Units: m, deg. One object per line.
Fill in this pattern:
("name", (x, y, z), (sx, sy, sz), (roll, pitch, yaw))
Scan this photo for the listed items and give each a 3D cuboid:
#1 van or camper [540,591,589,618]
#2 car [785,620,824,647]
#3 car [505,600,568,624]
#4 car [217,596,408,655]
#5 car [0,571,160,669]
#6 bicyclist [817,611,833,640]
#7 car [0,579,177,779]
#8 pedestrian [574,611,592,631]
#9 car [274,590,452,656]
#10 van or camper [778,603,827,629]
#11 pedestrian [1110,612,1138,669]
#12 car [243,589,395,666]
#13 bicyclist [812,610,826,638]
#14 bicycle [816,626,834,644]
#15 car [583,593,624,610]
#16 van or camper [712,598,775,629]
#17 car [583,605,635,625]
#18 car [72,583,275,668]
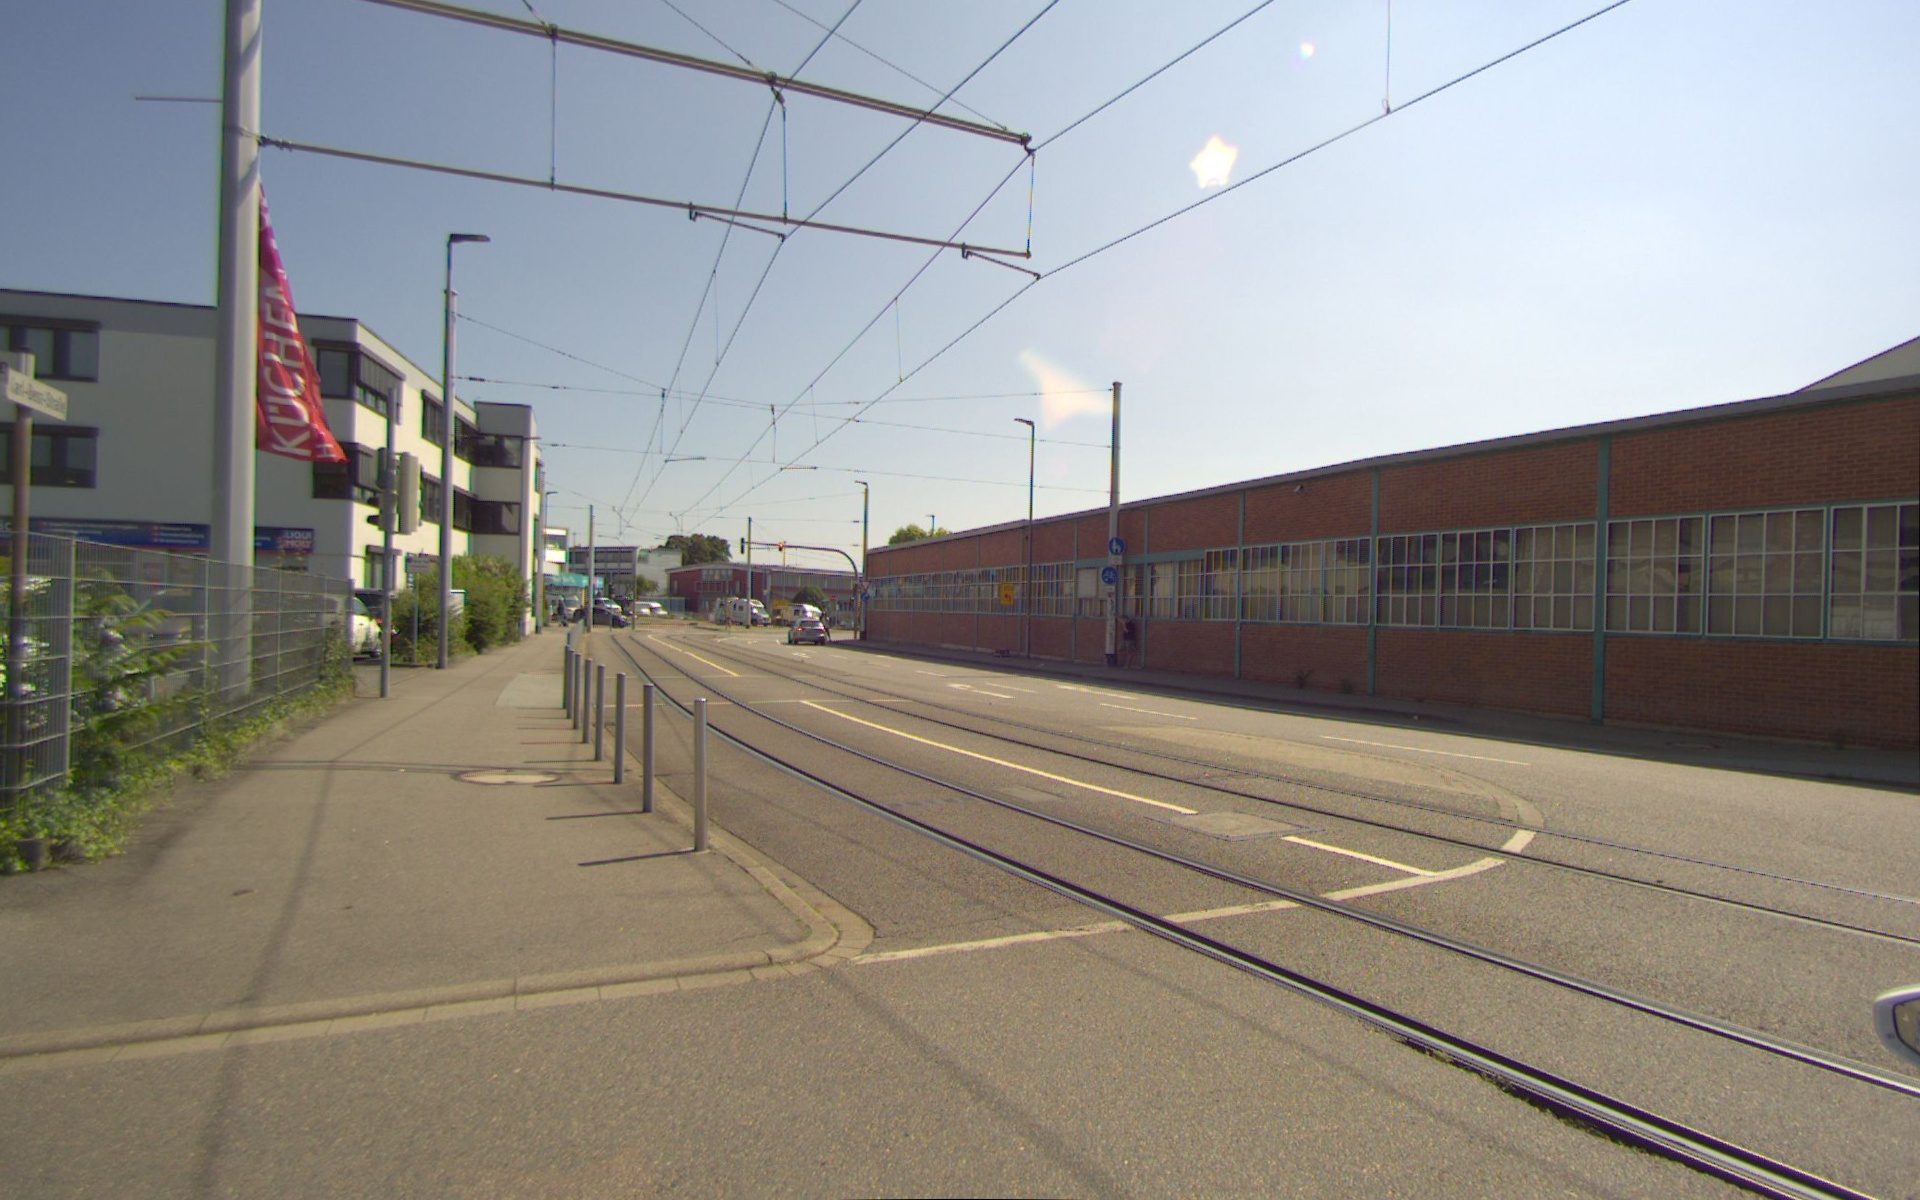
("van or camper", (-39.218, 0.402, 99.492), (5.725, 2.327, 2.028), (4, 1, 41))
("car", (-9.043, 1.902, 58.206), (1.723, 1.478, 3.987), (1, -1, -16))
("car", (-30.690, 0.866, 72.888), (3.936, 1.539, 1.992), (2, 1, -17))
("car", (-16.640, 0.671, 26.031), (3.775, 1.388, 1.741), (2, -1, -18))
("car", (-18.612, 0.389, 20.504), (1.965, 1.808, 3.991), (1, -1, -12))
("bicyclist", (-8.477, 1.592, 63.052), (0.775, 1.744, 1.143), (2, -1, -16))
("car", (-8.189, 0.566, 8.190), (1.688, 1.452, 3.936), (3, -2, -21))
("pedestrian", (-28.127, 1.584, 74.850), (1.120, 1.474, 0.831), (2, -1, -30))
("car", (-16.767, 0.661, 28.447), (3.938, 1.728, 1.992), (2, -1, -19))
("van or camper", (-17.936, 1.831, 114.593), (5.295, 2.473, 2.283), (5, 2, 34))
("pedestrian", (5.264, 1.298, 32.325), (0.676, 1.788, 0.447), (2, 1, -20))
("car", (-14.417, 0.611, 22.838), (1.712, 1.562, 3.826), (2, -1, -14))
("bicyclist", (-9.123, 1.547, 65.023), (0.699, 1.834, 0.979), (2, -1, -17))
("bicycle", (-8.481, 2.200, 63.209), (0.784, 1.035, 2.143), (2, -1, -16))
("car", (-40.459, 0.143, 113.988), (5.040, 1.782, 1.937), (1, -1, 37))
("van or camper", (-23.922, 1.451, 111.088), (6.858, 2.970, 2.350), (3, 1, 28))
("car", (-29.029, 1.256, 83.022), (3.941, 1.528, 1.870), (2, -1, -21))
("car", (-16.438, 0.526, 21.259), (1.825, 1.588, 3.925), (1, -1, -13))
